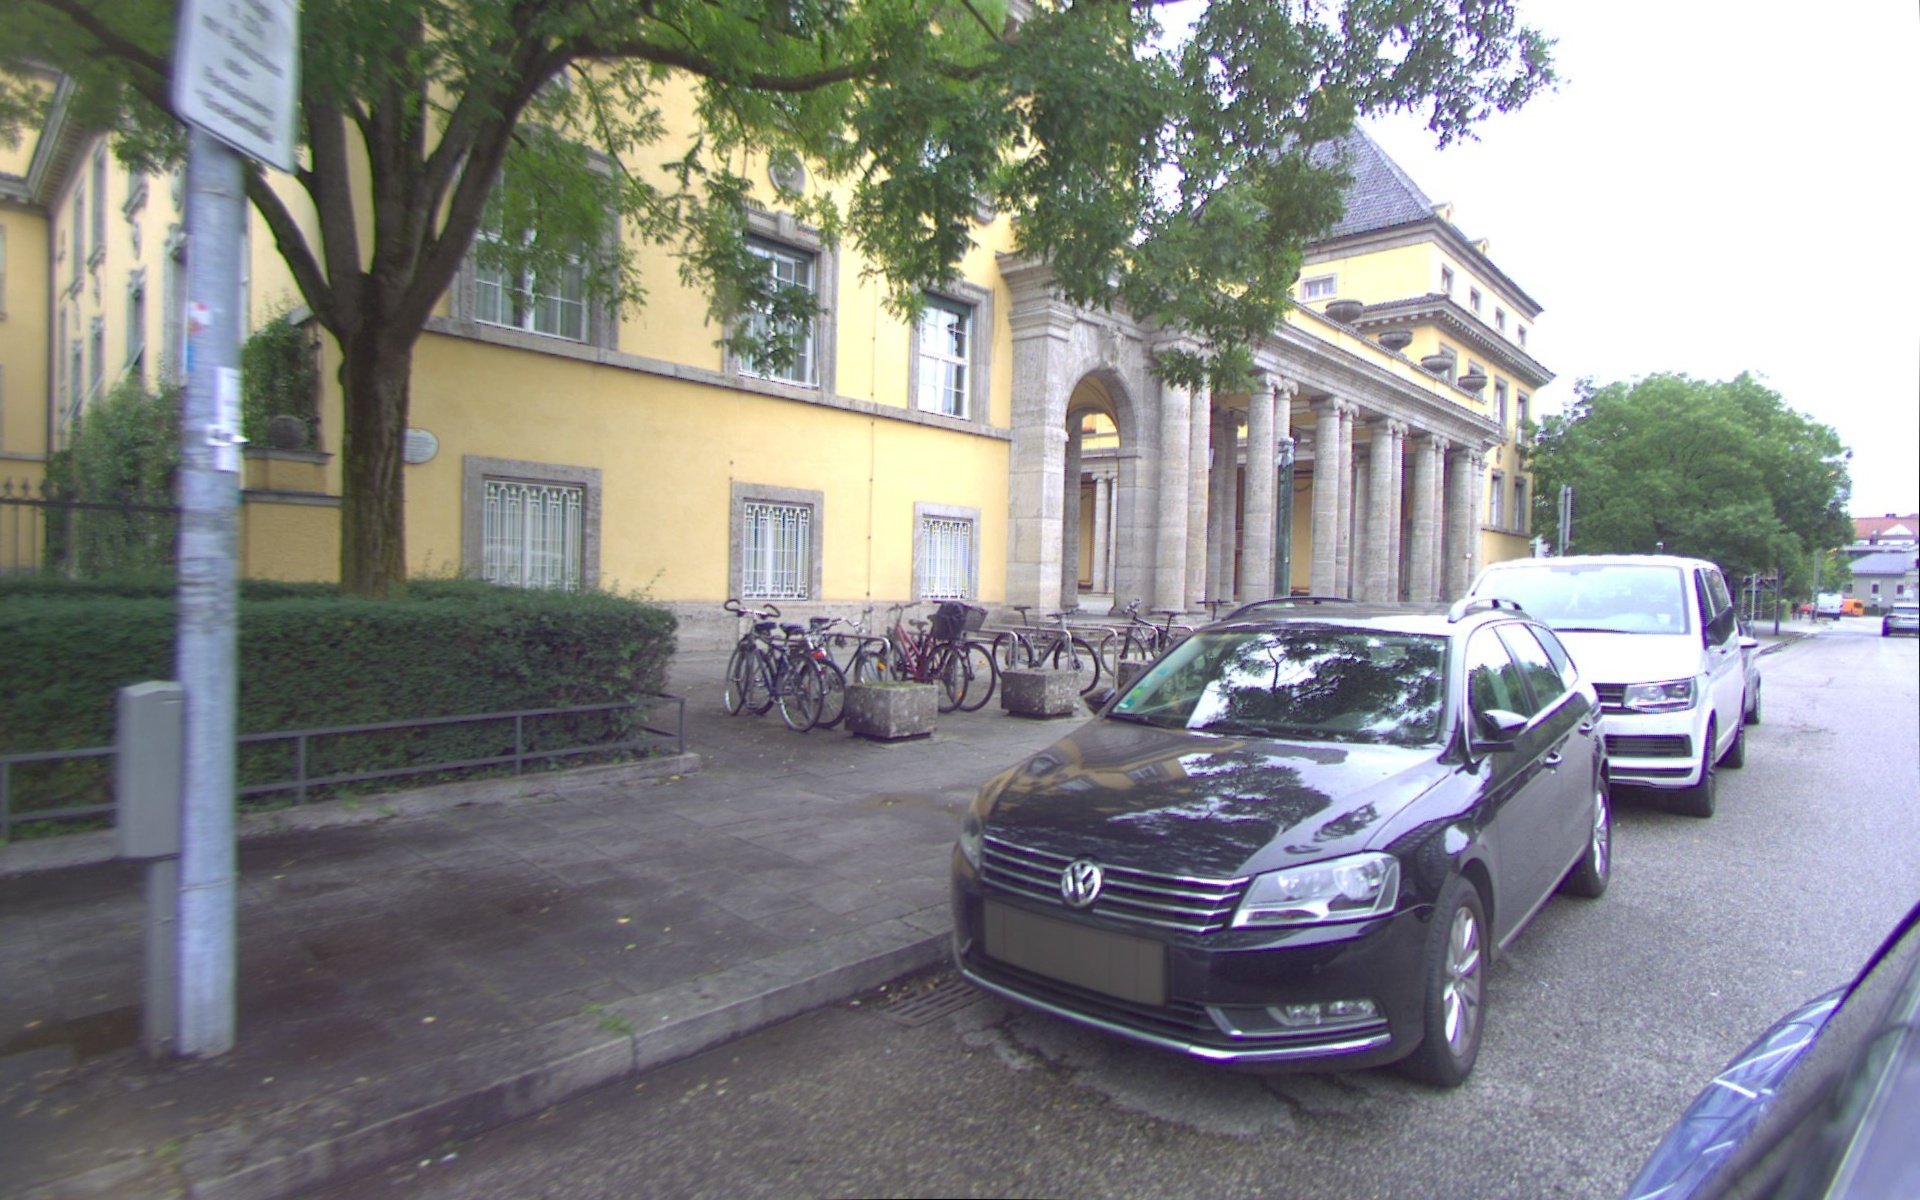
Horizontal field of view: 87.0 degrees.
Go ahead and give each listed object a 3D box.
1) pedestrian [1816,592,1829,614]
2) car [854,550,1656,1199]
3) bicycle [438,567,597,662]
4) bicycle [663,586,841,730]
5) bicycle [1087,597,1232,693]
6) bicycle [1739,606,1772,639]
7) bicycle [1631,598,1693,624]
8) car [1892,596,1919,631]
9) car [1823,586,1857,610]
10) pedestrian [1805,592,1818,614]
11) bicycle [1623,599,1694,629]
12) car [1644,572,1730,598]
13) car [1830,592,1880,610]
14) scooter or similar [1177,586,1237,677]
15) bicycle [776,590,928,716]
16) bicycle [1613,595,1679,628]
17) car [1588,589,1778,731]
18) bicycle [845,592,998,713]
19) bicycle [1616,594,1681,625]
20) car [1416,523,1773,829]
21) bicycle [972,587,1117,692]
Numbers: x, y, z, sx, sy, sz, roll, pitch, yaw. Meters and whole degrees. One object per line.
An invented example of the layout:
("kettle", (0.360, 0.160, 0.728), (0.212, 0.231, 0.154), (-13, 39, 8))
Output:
("pedestrian", (74.977, 0.263, 87.974), (0.773, 1.889, 0.984), (-1, -1, 37))
("car", (1.886, 0.652, 4.735), (1.769, 1.509, 4.900), (-1, -1, 40))
("bicycle", (-5.879, 0.185, 13.540), (0.542, 1.168, 1.873), (3, 1, 42))
("bicycle", (-1.980, 0.483, 9.423), (2.030, 1.127, 0.464), (4, 2, 41))
("bicycle", (2.699, 0.582, 13.852), (1.930, 1.127, 0.464), (4, 2, 41))
("bicycle", (29.297, 0.822, 37.254), (0.760, 1.114, 2.230), (5, 4, 42))
("bicycle", (32.890, 0.521, 47.439), (0.592, 1.023, 2.259), (2, 3, -44))
("car", (49.788, 0.708, 52.422), (2.026, 1.710, 4.602), (4, 2, 44))
("car", (88.211, -0.224, 101.510), (2.224, 2.331, 4.667), (-1, 0, 37))
("pedestrian", (74.460, 0.236, 88.522), (0.772, 1.889, 0.985), (-1, -1, 35))
("bicycle", (29.364, 0.570, 42.591), (2.356, 1.018, 0.669), (6, 3, 35))
("car", (53.046, -1.108, 73.909), (4.893, 1.702, 1.937), (3, 2, 42))
("car", (130.040, 0.146, 147.123), (2.522, 2.567, 4.991), (-1, 0, -4))
("scooter or similar", (3.590, 0.434, 14.762), (0.527, 1.237, 1.013), (2, 2, -2))
("bicycle", (-1.177, 0.511, 10.685), (0.463, 1.127, 1.933), (1, 3, -45))
("bicycle", (29.808, 0.492, 43.992), (2.250, 1.107, 0.595), (9, 6, 33))
("car", (9.209, 0.665, 12.828), (1.605, 1.566, 2.888), (0, 0, 43))
("bicycle", (-0.458, 0.529, 11.071), (0.463, 1.127, 1.934), (1, 2, -44))
("bicycle", (30.778, 0.394, 45.284), (2.250, 1.071, 0.595), (9, 6, 33))
("car", (5.901, 0.497, 9.045), (1.843, 1.958, 5.193), (-1, -1, 42))
("bicycle", (1.014, 0.454, 12.590), (0.463, 1.127, 1.934), (1, 2, -44))
